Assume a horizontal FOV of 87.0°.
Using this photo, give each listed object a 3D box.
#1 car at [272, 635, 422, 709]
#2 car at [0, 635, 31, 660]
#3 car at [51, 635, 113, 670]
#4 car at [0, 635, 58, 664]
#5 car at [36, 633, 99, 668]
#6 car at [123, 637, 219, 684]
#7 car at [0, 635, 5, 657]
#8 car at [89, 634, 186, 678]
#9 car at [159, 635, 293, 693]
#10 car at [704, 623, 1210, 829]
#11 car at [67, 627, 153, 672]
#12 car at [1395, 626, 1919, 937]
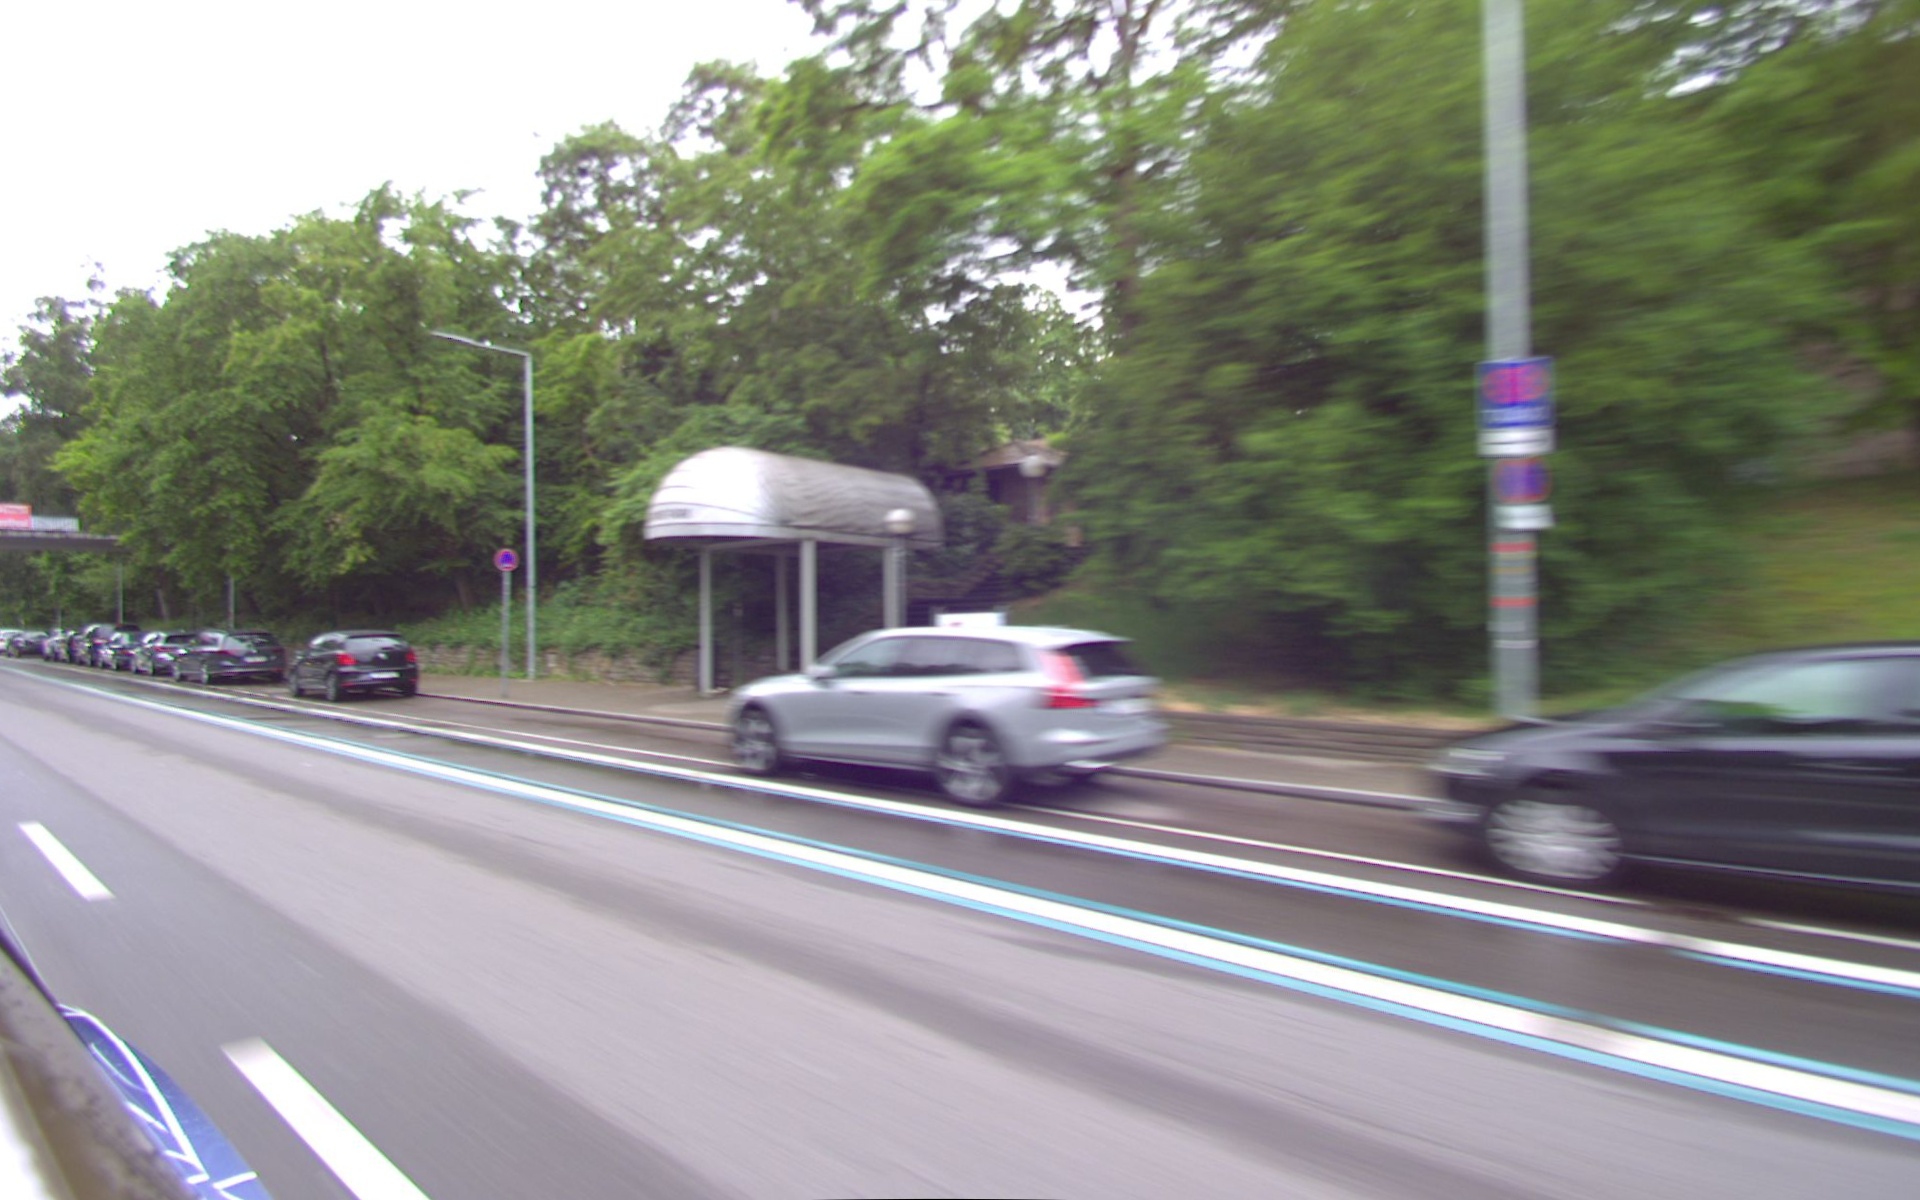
[{"bbox_3d":[-13.473,1.509,22.169,3.991,1.468,1.653,-2,-2,41],"label":"car"},{"bbox_3d":[-58.128,2.867,61.639,3.979,1.493,1.771,-2,-3,40],"label":"car"},{"bbox_3d":[-39.039,2.331,44.982,3.842,1.450,1.592,-3,-2,42],"label":"car"},{"bbox_3d":[-50.420,2.678,54.709,4.035,1.488,1.813,-3,-2,39],"label":"car"},{"bbox_3d":[-42.289,2.377,47.909,4.230,1.558,1.670,-3,-2,41],"label":"car"},{"bbox_3d":[-26.076,1.963,33.415,4.294,1.434,1.765,-3,-2,42],"label":"car"},{"bbox_3d":[-70.613,3.343,73.051,4.776,1.618,1.989,-3,-2,41],"label":"car"},{"bbox_3d":[-30.669,2.066,37.686,4.894,1.484,1.963,-3,-1,41],"label":"car"},{"bbox_3d":[-20.561,1.724,28.271,4.752,1.474,1.936,-2,-2,40],"label":"car"},{"bbox_3d":[-0.204,1.003,9.780,4.669,1.493,2.056,-2,-1,40],"label":"car"},{"bbox_3d":[-34.931,2.023,41.545,4.835,1.755,1.970,-3,-2,41],"label":"car"},{"bbox_3d":[4.797,0.883,5.626,4.051,1.448,1.678,-3,-2,40],"label":"car"}]
